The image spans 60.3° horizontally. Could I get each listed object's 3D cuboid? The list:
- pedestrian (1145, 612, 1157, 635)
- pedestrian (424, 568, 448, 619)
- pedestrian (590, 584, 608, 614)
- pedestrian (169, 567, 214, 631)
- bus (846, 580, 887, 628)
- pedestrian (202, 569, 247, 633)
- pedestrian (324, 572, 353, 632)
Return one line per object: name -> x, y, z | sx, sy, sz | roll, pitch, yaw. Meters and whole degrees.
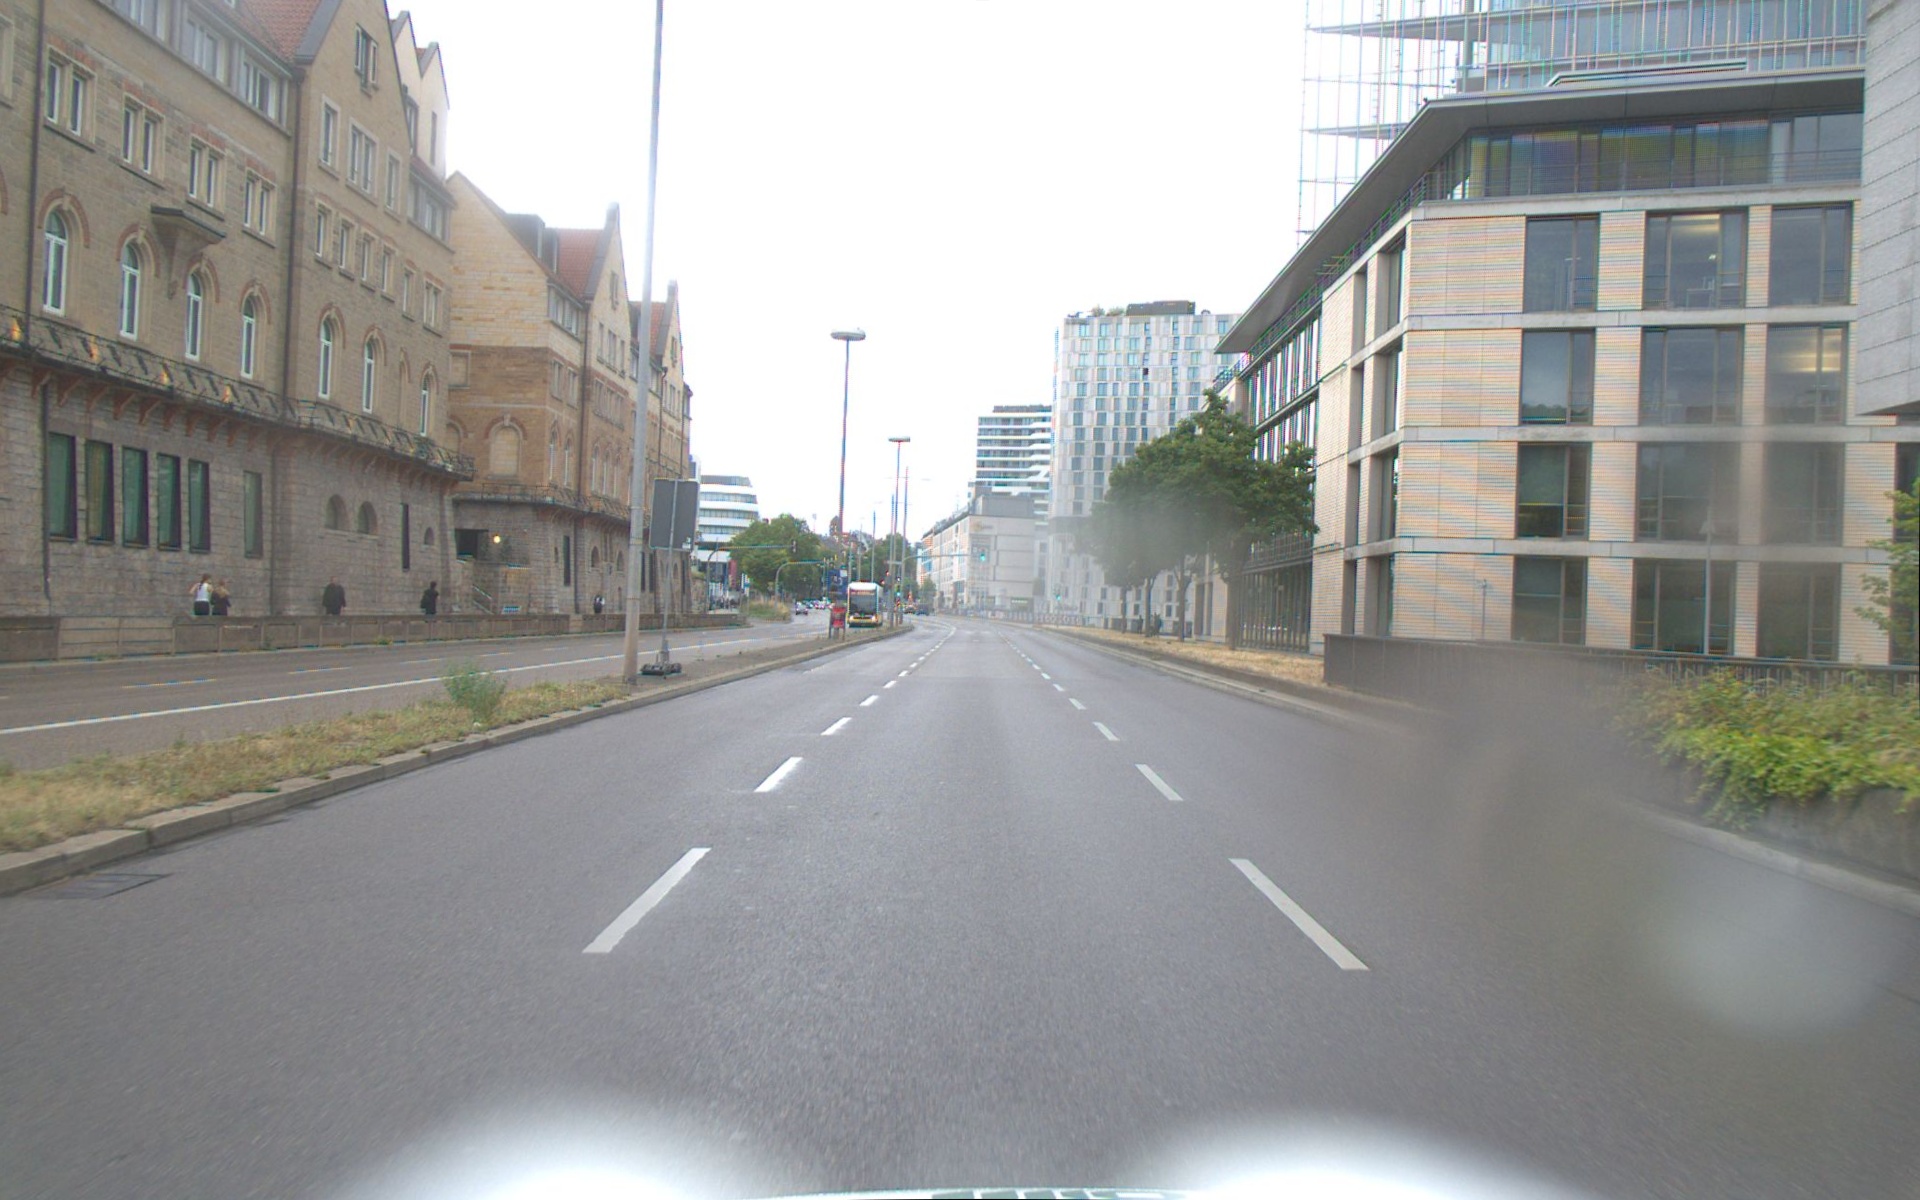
pedestrian -> 13.509, 1.656, 117.010 | 0.540, 1.605, 0.668 | 1, 1, 35
pedestrian -> -18.236, -0.224, 57.595 | 0.627, 1.776, 0.621 | 1, 1, -2
pedestrian -> -18.208, -0.061, 83.446 | 0.738, 1.503, 0.714 | 1, 1, 0
pedestrian -> -18.395, -0.027, 39.591 | 0.738, 1.503, 0.714 | 1, 1, 0
bus -> -7.515, 0.317, 133.649 | 2.643, 3.621, 10.093 | 1, 0, 0
pedestrian -> -17.616, 0.016, 39.617 | 0.738, 1.503, 0.714 | 1, 1, 0
pedestrian -> -18.550, 0.048, 49.349 | 0.627, 1.776, 0.621 | 1, 1, -2
